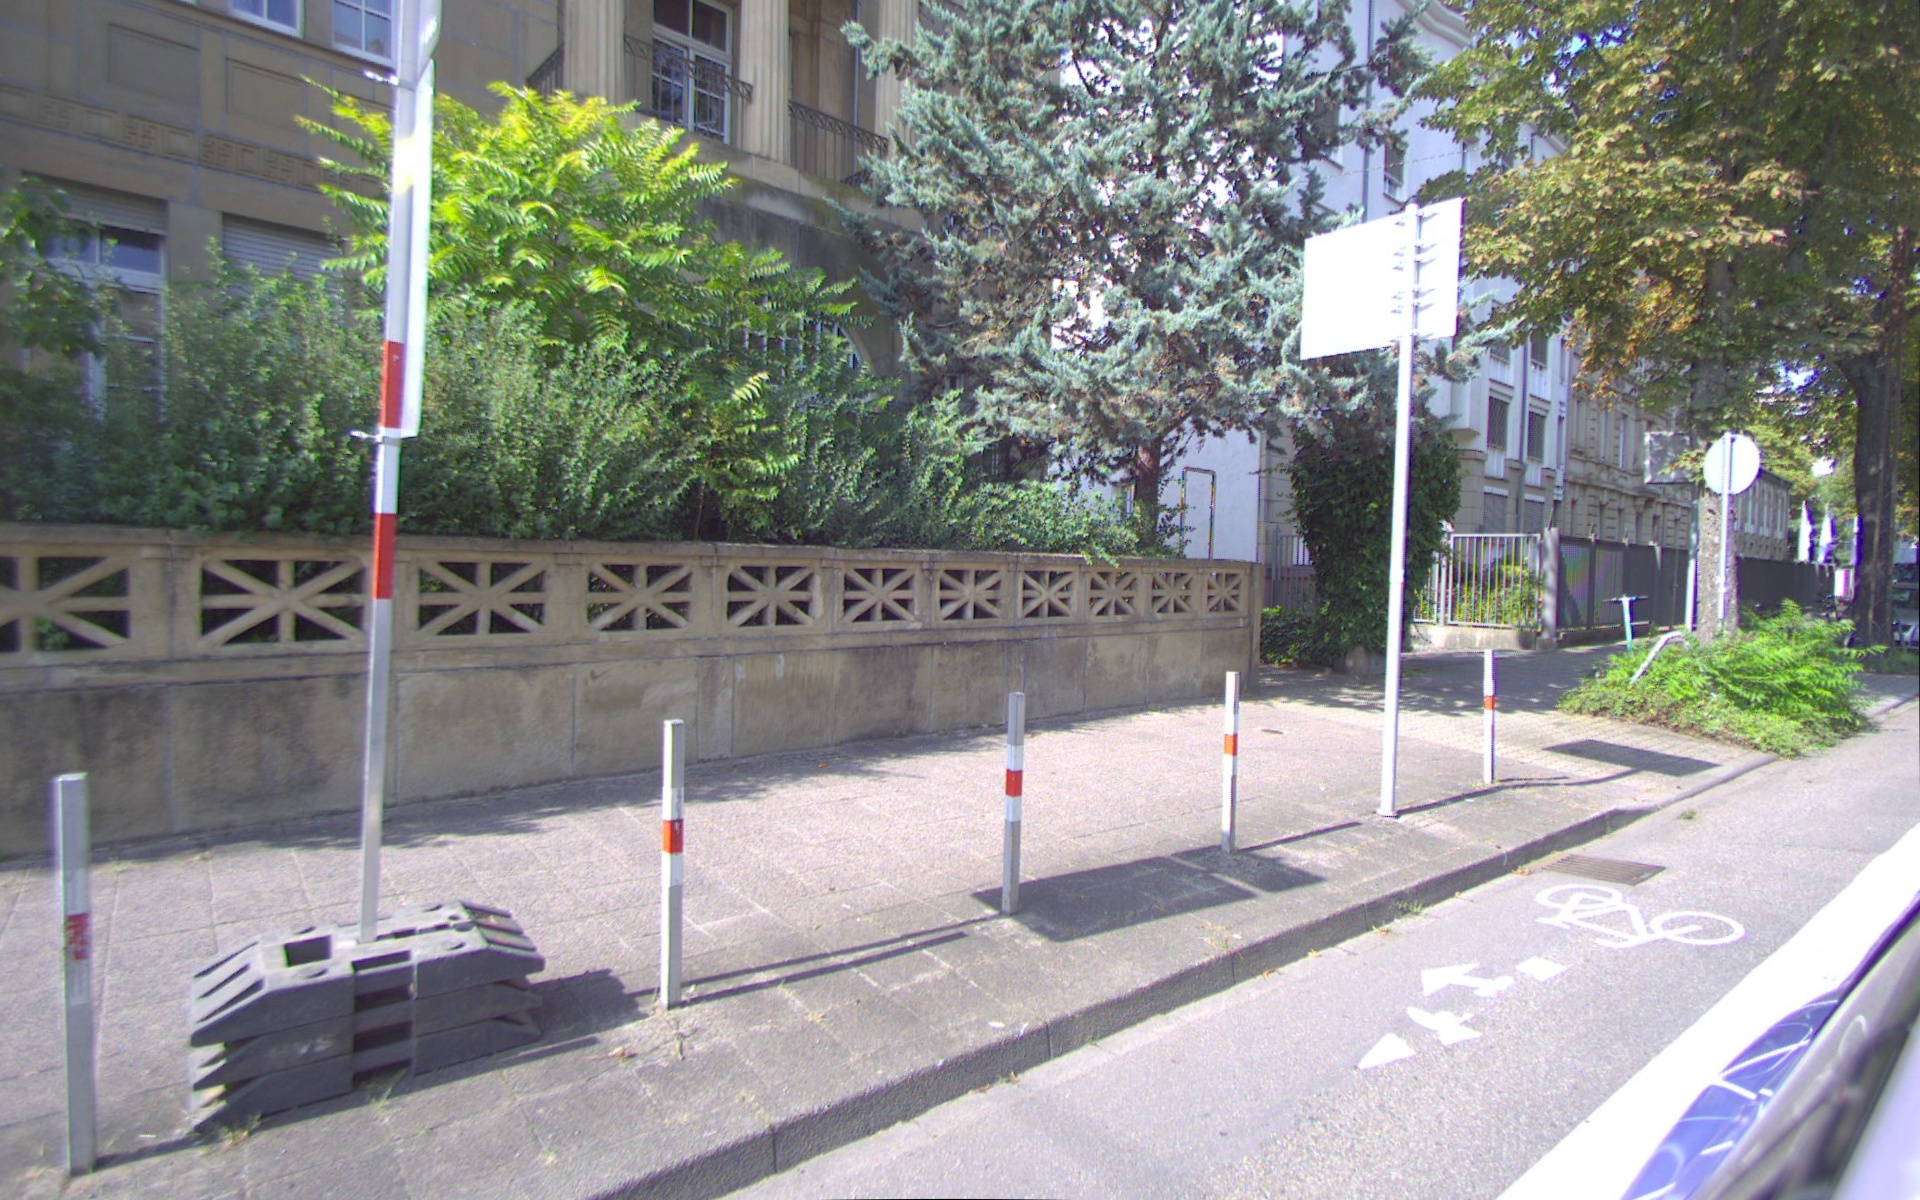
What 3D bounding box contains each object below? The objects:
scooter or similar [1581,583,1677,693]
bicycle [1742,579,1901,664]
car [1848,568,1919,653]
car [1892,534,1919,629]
[{"bbox_3d":[7.984,0.431,12.068,1.015,1.211,0.560,-1,6,-37],"label":"scooter or similar"},{"bbox_3d":[13.763,0.327,16.209,1.811,1.178,0.504,4,8,8],"label":"bicycle"},{"bbox_3d":[19.738,0.188,20.863,4.284,1.541,1.610,-1,6,-43],"label":"car"},{"bbox_3d":[28.213,-0.494,28.694,6.123,2.529,2.049,-1,4,-43],"label":"car"}]
